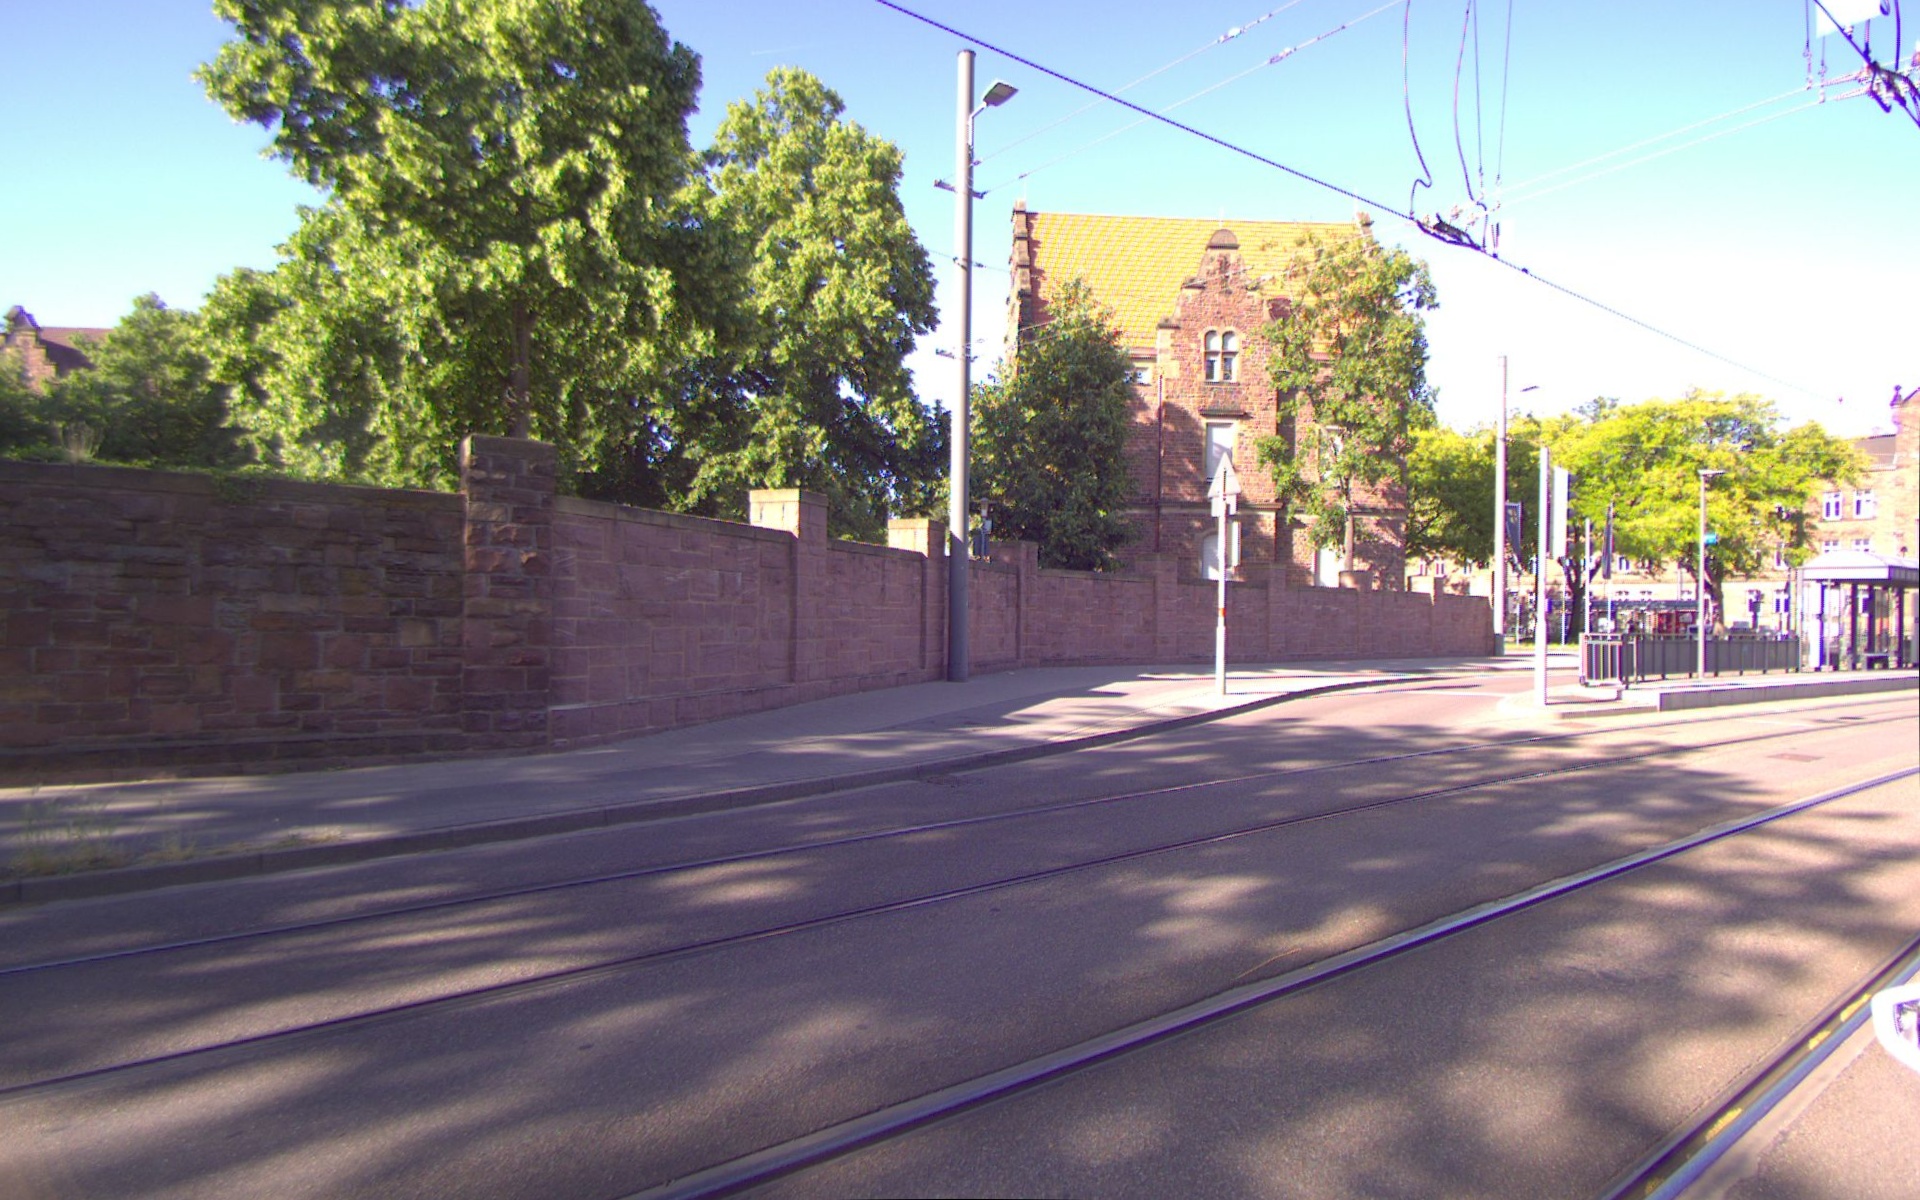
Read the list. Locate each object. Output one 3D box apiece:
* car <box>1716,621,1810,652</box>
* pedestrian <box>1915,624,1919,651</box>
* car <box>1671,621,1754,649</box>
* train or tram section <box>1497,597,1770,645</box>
[{"bbox_3d":[47.760,2.169,59.801,1.798,1.651,3.964,2,0,-32],"label":"car"},{"bbox_3d":[64.509,2.550,67.262,0.758,1.797,0.716,2,0,44],"label":"pedestrian"},{"bbox_3d":[49.185,2.252,65.685,1.798,1.651,3.964,2,0,-32],"label":"car"},{"bbox_3d":[50.035,1.471,75.890,3.312,3.196,17.280,2,-1,-33],"label":"train or tram section"}]
